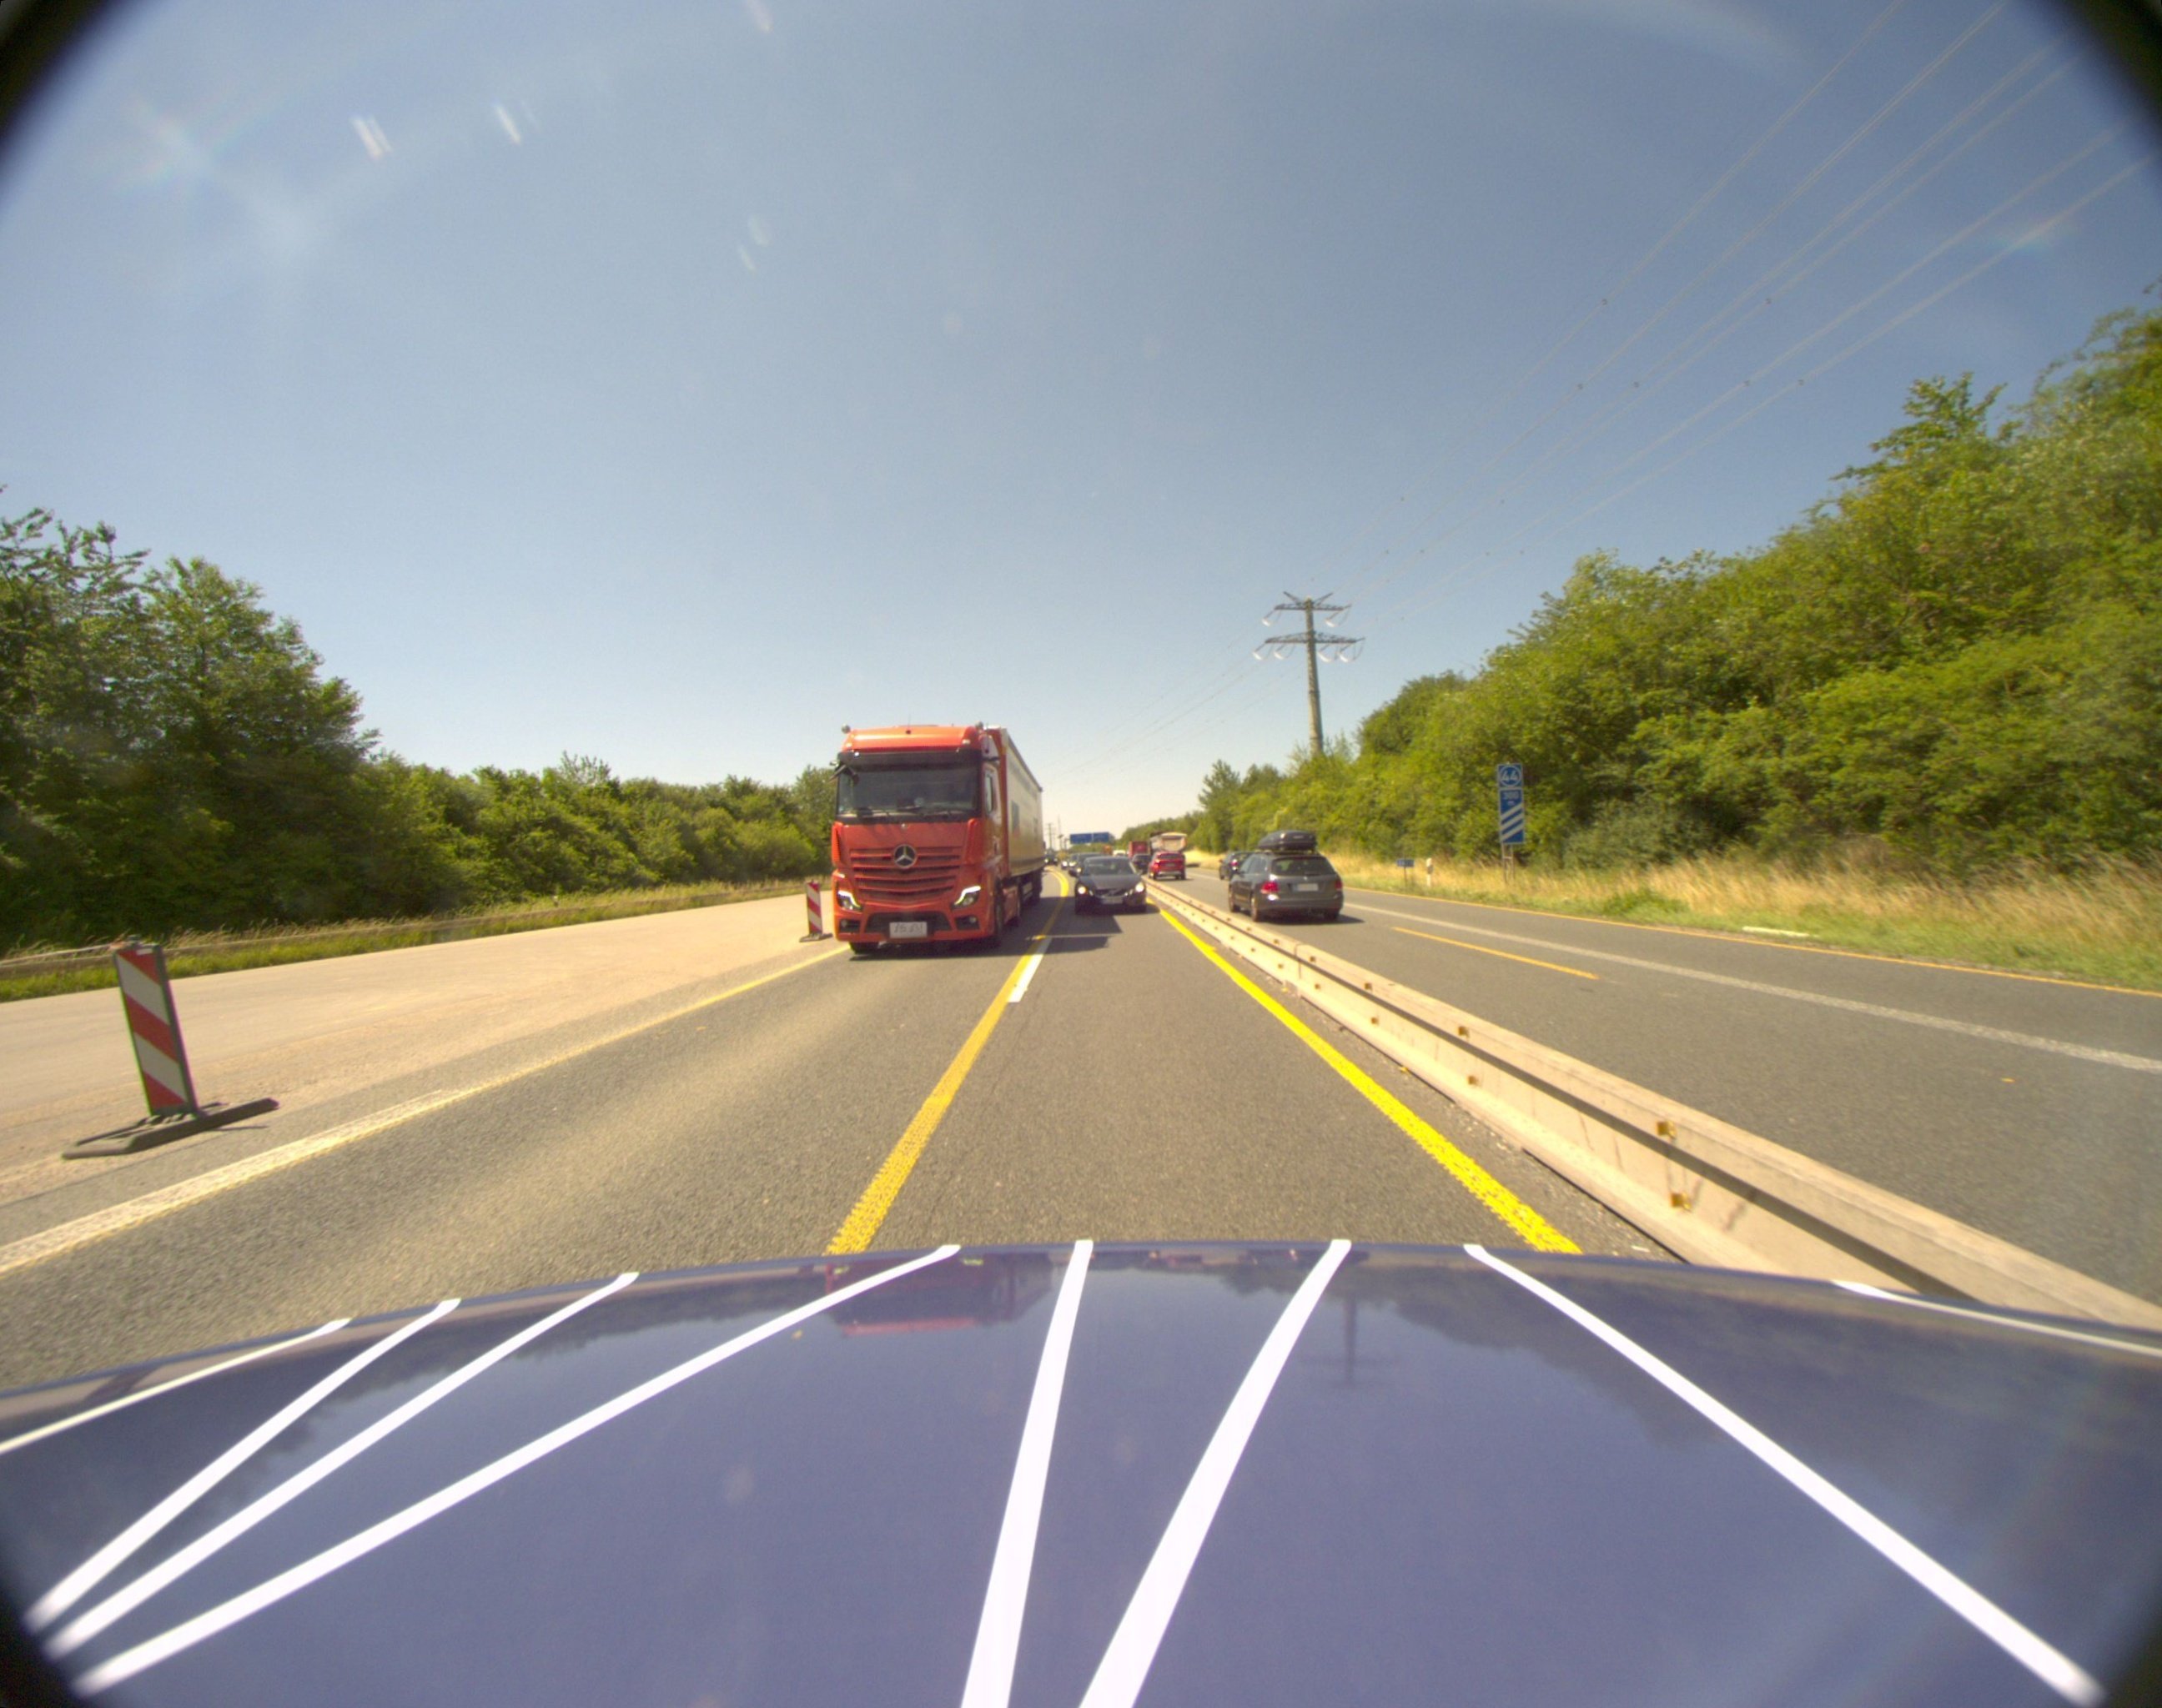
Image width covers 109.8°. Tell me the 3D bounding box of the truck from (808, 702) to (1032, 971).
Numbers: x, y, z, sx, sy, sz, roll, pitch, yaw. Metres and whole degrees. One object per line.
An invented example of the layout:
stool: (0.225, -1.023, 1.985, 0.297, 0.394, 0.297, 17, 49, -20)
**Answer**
truck: (-2.648, -0.299, 14.853, 2.689, 3.987, 6.724, -2, 1, 1)

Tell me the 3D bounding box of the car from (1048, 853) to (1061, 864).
car: (-3.901, 0.673, 111.673, 1.767, 1.523, 4.697, -2, 1, -1)

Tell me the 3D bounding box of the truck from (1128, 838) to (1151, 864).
truck: (9.113, -0.534, 119.237, 2.810, 3.754, 11.378, -3, 0, 1)

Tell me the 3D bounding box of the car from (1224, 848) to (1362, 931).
car: (4.467, 0.672, 16.730, 1.904, 1.507, 4.276, -2, 1, 1)

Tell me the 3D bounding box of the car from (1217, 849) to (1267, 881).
car: (7.856, 0.519, 37.288, 1.685, 1.413, 3.642, -2, 1, 1)

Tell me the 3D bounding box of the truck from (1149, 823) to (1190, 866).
truck: (8.581, -0.936, 75.200, 2.943, 3.754, 11.379, -3, 0, 2)

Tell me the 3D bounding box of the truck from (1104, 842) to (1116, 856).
truck: (7.681, -1.356, 201.685, 2.810, 3.317, 11.378, -3, 0, 1)

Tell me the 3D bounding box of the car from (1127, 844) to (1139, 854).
car: (15.214, -1.421, 222.772, 2.810, 2.735, 6.801, -3, 0, 1)

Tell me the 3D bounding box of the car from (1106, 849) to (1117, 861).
car: (5.428, 0.136, 135.227, 1.855, 2.044, 4.348, -2, 1, 1)

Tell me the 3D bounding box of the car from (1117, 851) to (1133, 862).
car: (5.738, 0.313, 100.226, 1.855, 1.413, 4.348, -2, 1, 1)

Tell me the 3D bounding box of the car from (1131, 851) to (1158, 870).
car: (5.164, 0.472, 62.495, 1.855, 1.413, 4.348, -2, 1, 1)

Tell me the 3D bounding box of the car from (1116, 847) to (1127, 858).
car: (7.654, -0.275, 143.078, 1.855, 2.044, 4.348, -2, 1, 1)

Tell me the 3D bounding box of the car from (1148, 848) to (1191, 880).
car: (4.750, 0.506, 41.442, 1.904, 1.580, 4.276, -2, 1, 1)

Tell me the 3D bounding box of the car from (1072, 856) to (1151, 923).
car: (0.767, 0.841, 19.950, 1.767, 1.411, 4.699, -2, 1, 1)

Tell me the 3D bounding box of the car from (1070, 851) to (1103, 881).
car: (0.352, 0.639, 43.703, 1.767, 1.523, 4.699, -2, 1, 1)

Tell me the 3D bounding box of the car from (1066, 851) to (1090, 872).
car: (-0.231, 0.591, 60.700, 1.767, 1.523, 4.698, -2, 1, -1)

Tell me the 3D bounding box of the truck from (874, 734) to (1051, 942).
truck: (-2.585, -0.392, 21.564, 2.689, 3.987, 13.217, -2, 1, 1)

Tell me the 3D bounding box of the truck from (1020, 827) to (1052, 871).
truck: (-4.529, -0.510, 78.826, 2.481, 4.030, 13.109, -2, 0, 0)
